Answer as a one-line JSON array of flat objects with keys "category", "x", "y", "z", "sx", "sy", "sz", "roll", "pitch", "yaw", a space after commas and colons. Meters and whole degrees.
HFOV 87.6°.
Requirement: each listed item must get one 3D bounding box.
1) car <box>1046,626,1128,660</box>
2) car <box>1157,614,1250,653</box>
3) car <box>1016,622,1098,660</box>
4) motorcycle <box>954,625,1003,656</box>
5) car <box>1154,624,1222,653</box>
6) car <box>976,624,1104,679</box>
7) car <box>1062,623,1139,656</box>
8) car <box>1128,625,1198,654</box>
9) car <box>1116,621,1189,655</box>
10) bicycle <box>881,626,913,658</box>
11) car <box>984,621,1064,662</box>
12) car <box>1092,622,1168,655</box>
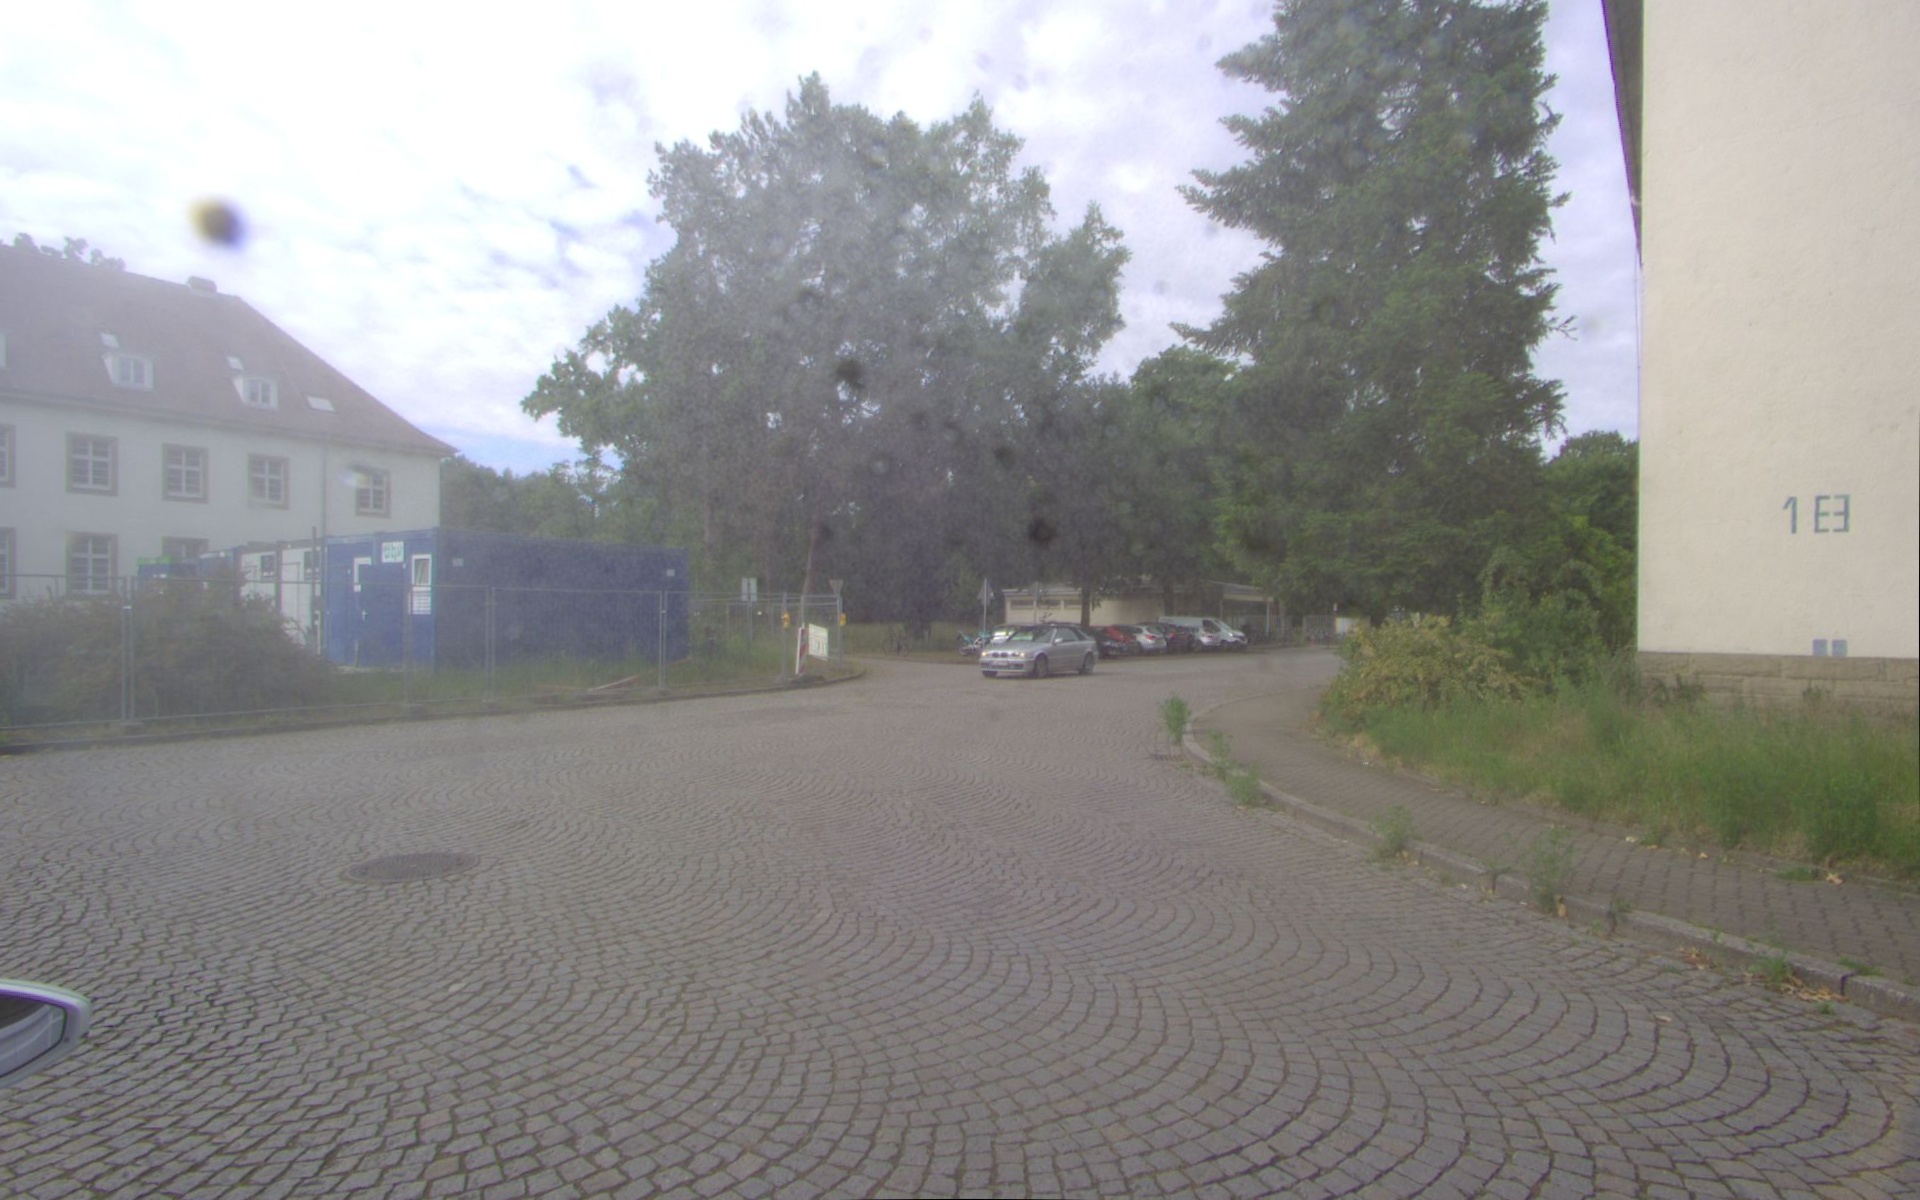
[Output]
[{"category": "car", "x": 5.723, "y": 1.900, "z": 45.154, "sx": 3.313, "sy": 1.338, "sz": 1.635, "roll": 2, "pitch": 0, "yaw": 28}, {"category": "car", "x": 14.057, "y": 1.914, "z": 57.964, "sx": 4.892, "sy": 2.017, "sz": 1.687, "roll": 2, "pitch": 0, "yaw": 37}, {"category": "car", "x": 4.145, "y": 1.729, "z": 42.861, "sx": 3.171, "sy": 1.467, "sz": 1.384, "roll": 2, "pitch": 0, "yaw": 28}, {"category": "motorcycle", "x": 0.707, "y": 1.579, "z": 39.564, "sx": 1.936, "sy": 1.180, "sz": 0.516, "roll": 0, "pitch": 0, "yaw": 31}, {"category": "car", "x": 12.670, "y": 2.143, "z": 55.677, "sx": 3.317, "sy": 1.425, "sz": 1.558, "roll": 2, "pitch": 0, "yaw": 32}, {"category": "car", "x": 2.259, "y": 1.340, "z": 27.176, "sx": 1.585, "sy": 1.363, "sz": 4.270, "roll": -1, "pitch": -2, "yaw": 34}, {"category": "car", "x": 6.694, "y": 1.857, "z": 47.826, "sx": 3.320, "sy": 1.379, "sz": 1.439, "roll": 2, "pitch": 0, "yaw": 36}, {"category": "car", "x": 10.897, "y": 2.098, "z": 53.780, "sx": 3.317, "sy": 1.336, "sz": 1.467, "roll": 2, "pitch": 0, "yaw": 32}, {"category": "car", "x": 9.916, "y": 1.931, "z": 51.606, "sx": 3.317, "sy": 1.533, "sz": 1.558, "roll": 2, "pitch": 0, "yaw": 32}, {"category": "bicycle", "x": -2.432, "y": 1.584, "z": 38.415, "sx": 0.507, "sy": 1.182, "sz": 1.795, "roll": 0, "pitch": -1, "yaw": -30}, {"category": "car", "x": 2.624, "y": 1.672, "z": 41.121, "sx": 2.978, "sy": 1.508, "sz": 1.318, "roll": 2, "pitch": 0, "yaw": 28}, {"category": "car", "x": 8.334, "y": 1.868, "z": 49.136, "sx": 3.314, "sy": 1.462, "sz": 1.559, "roll": 2, "pitch": 0, "yaw": 29}]
